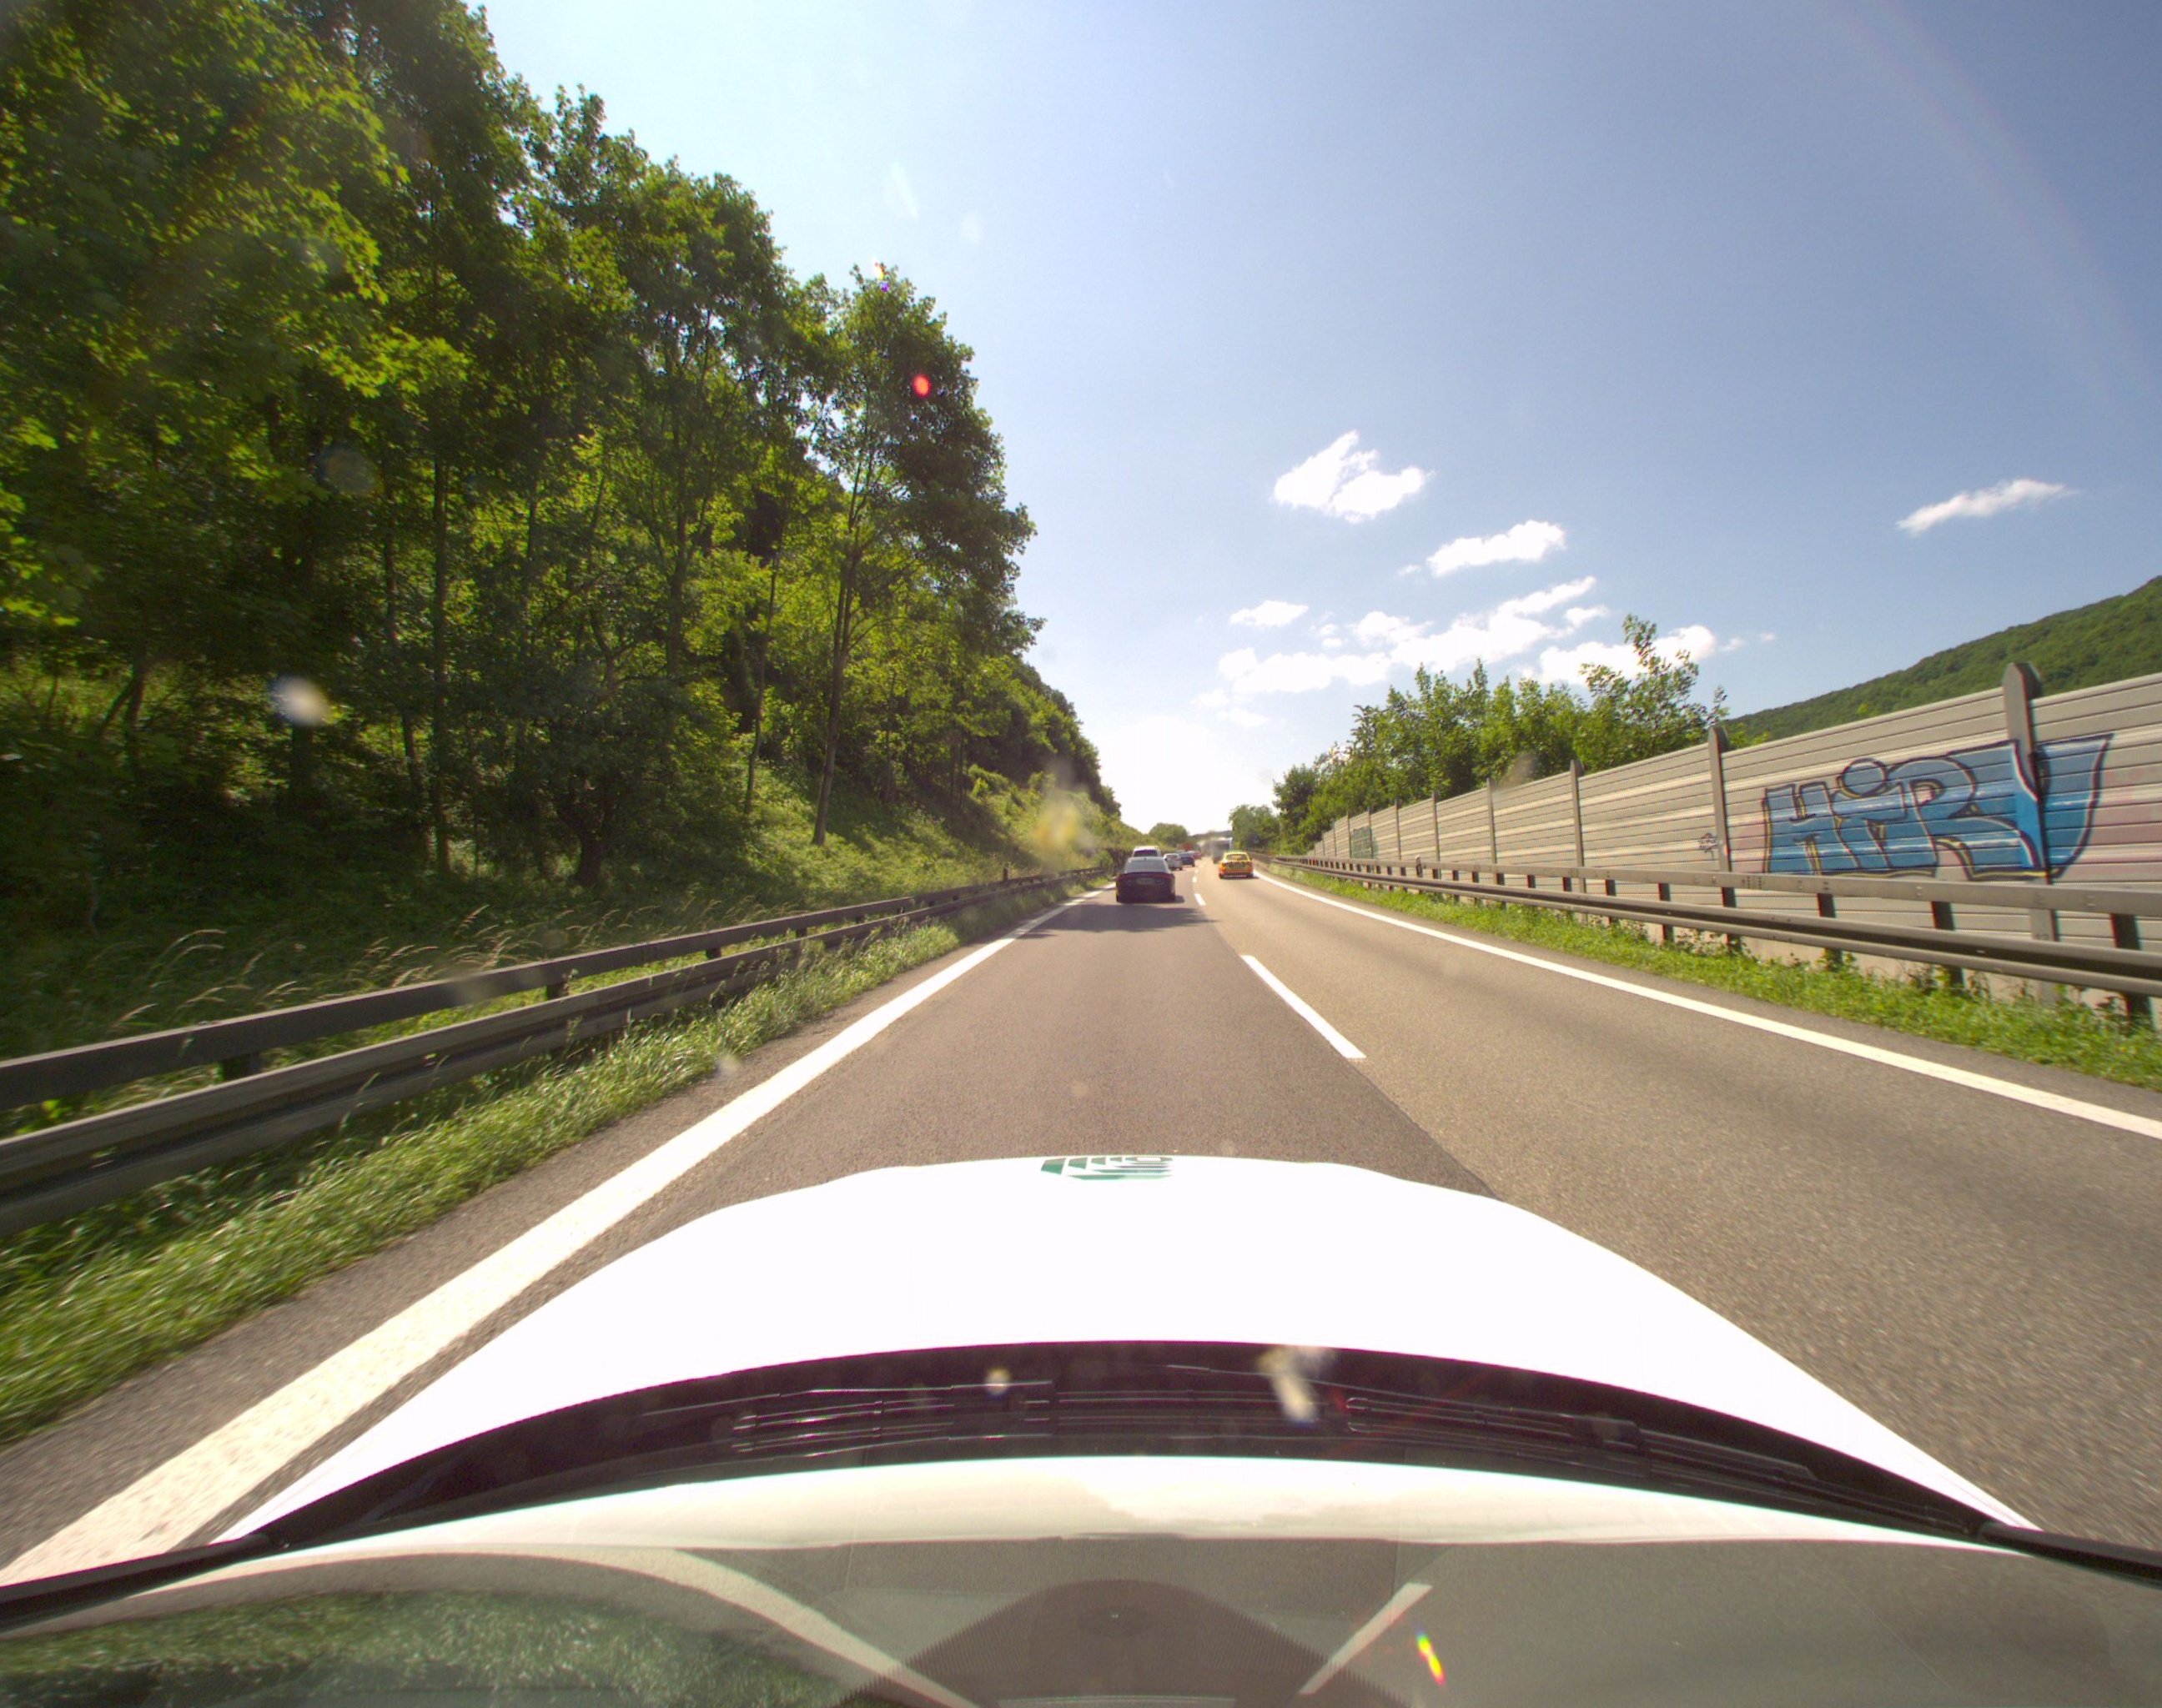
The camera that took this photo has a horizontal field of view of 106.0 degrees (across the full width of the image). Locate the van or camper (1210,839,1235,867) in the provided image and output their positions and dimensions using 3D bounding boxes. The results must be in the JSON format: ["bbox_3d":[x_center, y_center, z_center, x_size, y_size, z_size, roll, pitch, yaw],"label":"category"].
[{"bbox_3d":[15.409,-0.083,89.004,2.442,2.918,6.138,-1,-1,7],"label":"van or camper"}]

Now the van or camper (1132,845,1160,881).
[{"bbox_3d":[3.528,0.512,43.932,1.385,1.816,4.005,-1,-1,5],"label":"van or camper"}]

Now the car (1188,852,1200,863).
[{"bbox_3d":[17.582,0.581,126.801,1.670,1.634,3.530,-1,0,11],"label":"car"}]

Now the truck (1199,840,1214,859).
[{"bbox_3d":[27.759,-0.963,180.221,2.720,4.096,7.490,-1,0,5],"label":"truck"}]

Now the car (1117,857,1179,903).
[{"bbox_3d":[2.138,0.824,26.757,1.830,1.349,4.003,-1,-1,3],"label":"car"}]

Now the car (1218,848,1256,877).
[{"bbox_3d":[8.623,0.496,45.269,1.852,1.488,4.009,-1,-1,8],"label":"car"}]

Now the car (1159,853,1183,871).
[{"bbox_3d":[7.537,0.647,68.002,1.737,1.431,4.010,-1,-1,9],"label":"car"}]

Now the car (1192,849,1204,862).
[{"bbox_3d":[19.833,0.254,137.776,1.981,2.064,4.010,-1,-1,9],"label":"car"}]

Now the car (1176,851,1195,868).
[{"bbox_3d":[10.276,0.526,80.103,1.764,1.637,4.007,-1,0,6],"label":"car"}]

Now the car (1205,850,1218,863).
[{"bbox_3d":[18.942,0.337,118.078,1.830,1.717,4.010,-1,0,9],"label":"car"}]

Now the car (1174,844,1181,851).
[{"bbox_3d":[30.708,-2.148,259.261,1.987,2.013,4.000,-2,0,0],"label":"car"}]

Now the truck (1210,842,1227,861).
[{"bbox_3d":[24.516,-0.451,145.823,2.824,3.131,7.498,-1,0,9],"label":"truck"}]

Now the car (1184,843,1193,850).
[{"bbox_3d":[30.737,-2.215,233.410,1.987,2.013,4.000,-2,0,1],"label":"car"}]
